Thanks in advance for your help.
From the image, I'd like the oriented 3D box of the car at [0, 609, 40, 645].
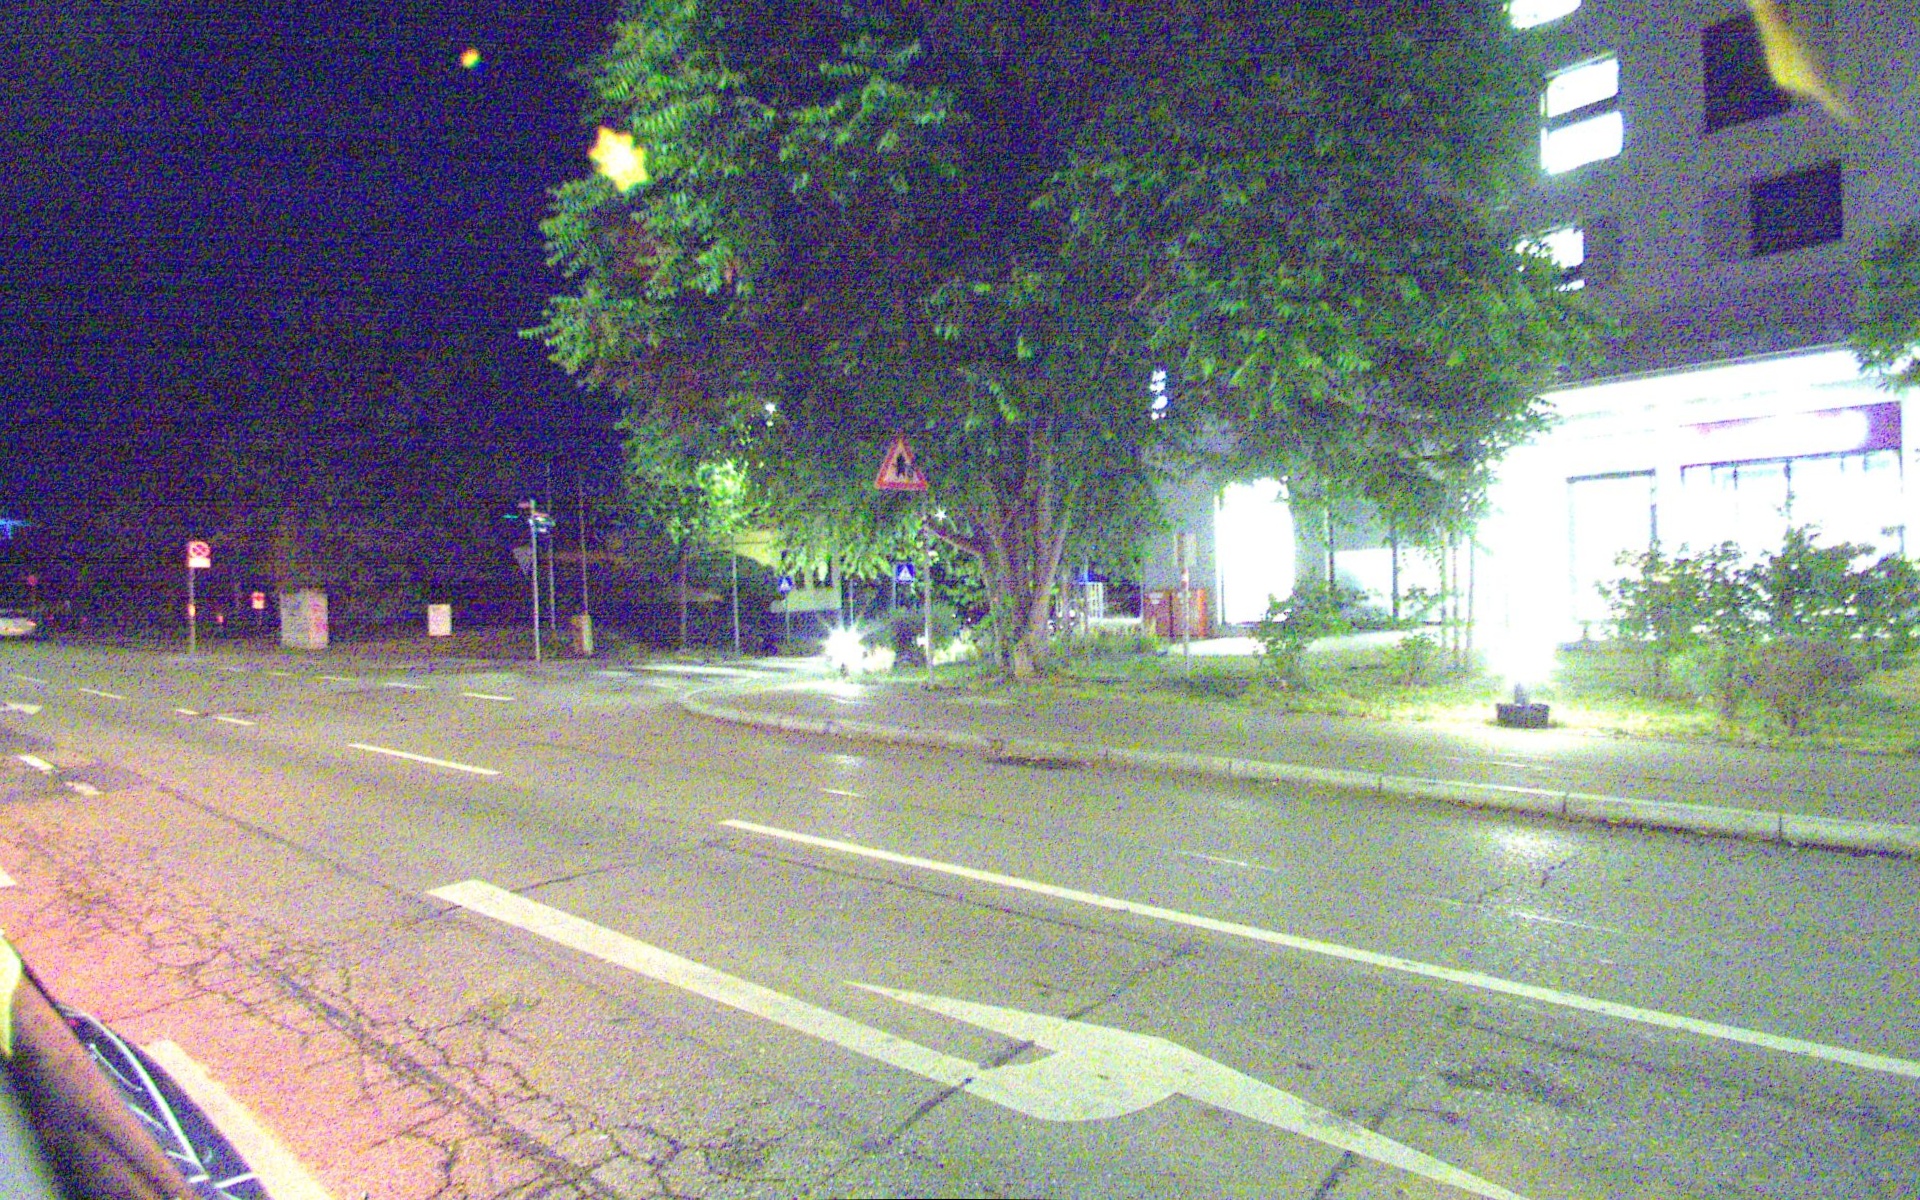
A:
[{"bbox_3d":[-43.180,1.203,45.746,3.998,1.464,1.887,1,2,41],"label":"car"}]
